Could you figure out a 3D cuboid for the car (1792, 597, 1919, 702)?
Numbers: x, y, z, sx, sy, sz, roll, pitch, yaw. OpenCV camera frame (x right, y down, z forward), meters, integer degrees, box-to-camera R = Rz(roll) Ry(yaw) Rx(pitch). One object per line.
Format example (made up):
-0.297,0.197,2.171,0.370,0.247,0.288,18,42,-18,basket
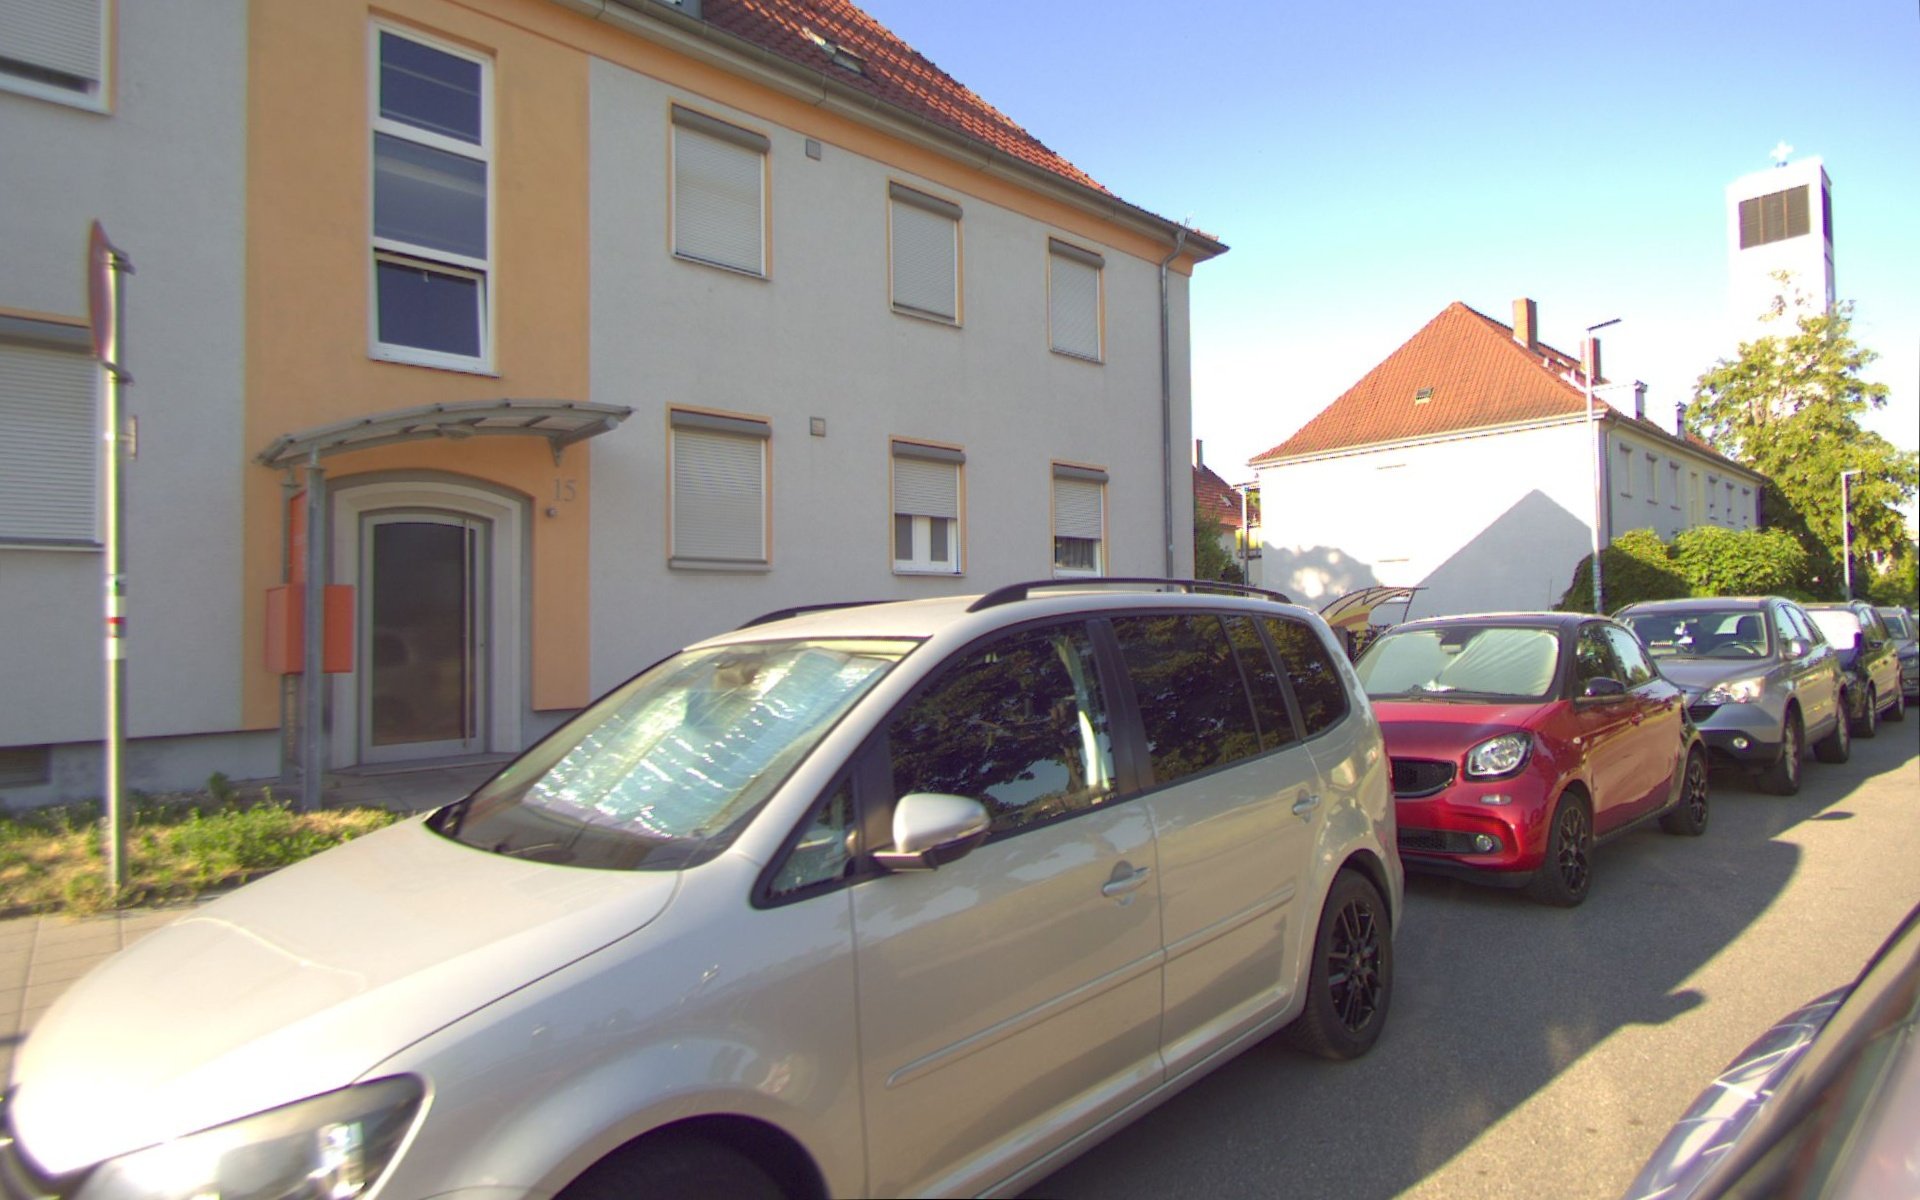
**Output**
15.564,0.772,17.155,4.343,1.581,1.725,0,-3,-44,car

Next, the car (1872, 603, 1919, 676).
22.957,0.837,23.814,4.137,1.569,1.728,-1,-6,-43,car

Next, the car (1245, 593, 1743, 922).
3.639,0.746,6.637,3.670,1.546,1.732,0,0,-42,car

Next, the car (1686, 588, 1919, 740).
11.307,0.724,13.353,4.682,1.656,1.768,-1,-2,-42,car

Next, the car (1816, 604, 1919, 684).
19.289,0.840,20.624,4.480,1.481,1.997,0,-3,-40,car

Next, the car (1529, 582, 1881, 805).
7.342,0.700,9.772,4.674,1.664,1.779,0,-1,-42,car

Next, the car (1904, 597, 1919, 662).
27.059,0.740,27.245,4.735,1.679,1.857,1,-3,-41,car

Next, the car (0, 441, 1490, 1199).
-0.115,0.717,3.084,4.489,1.660,1.717,0,-4,-45,car
